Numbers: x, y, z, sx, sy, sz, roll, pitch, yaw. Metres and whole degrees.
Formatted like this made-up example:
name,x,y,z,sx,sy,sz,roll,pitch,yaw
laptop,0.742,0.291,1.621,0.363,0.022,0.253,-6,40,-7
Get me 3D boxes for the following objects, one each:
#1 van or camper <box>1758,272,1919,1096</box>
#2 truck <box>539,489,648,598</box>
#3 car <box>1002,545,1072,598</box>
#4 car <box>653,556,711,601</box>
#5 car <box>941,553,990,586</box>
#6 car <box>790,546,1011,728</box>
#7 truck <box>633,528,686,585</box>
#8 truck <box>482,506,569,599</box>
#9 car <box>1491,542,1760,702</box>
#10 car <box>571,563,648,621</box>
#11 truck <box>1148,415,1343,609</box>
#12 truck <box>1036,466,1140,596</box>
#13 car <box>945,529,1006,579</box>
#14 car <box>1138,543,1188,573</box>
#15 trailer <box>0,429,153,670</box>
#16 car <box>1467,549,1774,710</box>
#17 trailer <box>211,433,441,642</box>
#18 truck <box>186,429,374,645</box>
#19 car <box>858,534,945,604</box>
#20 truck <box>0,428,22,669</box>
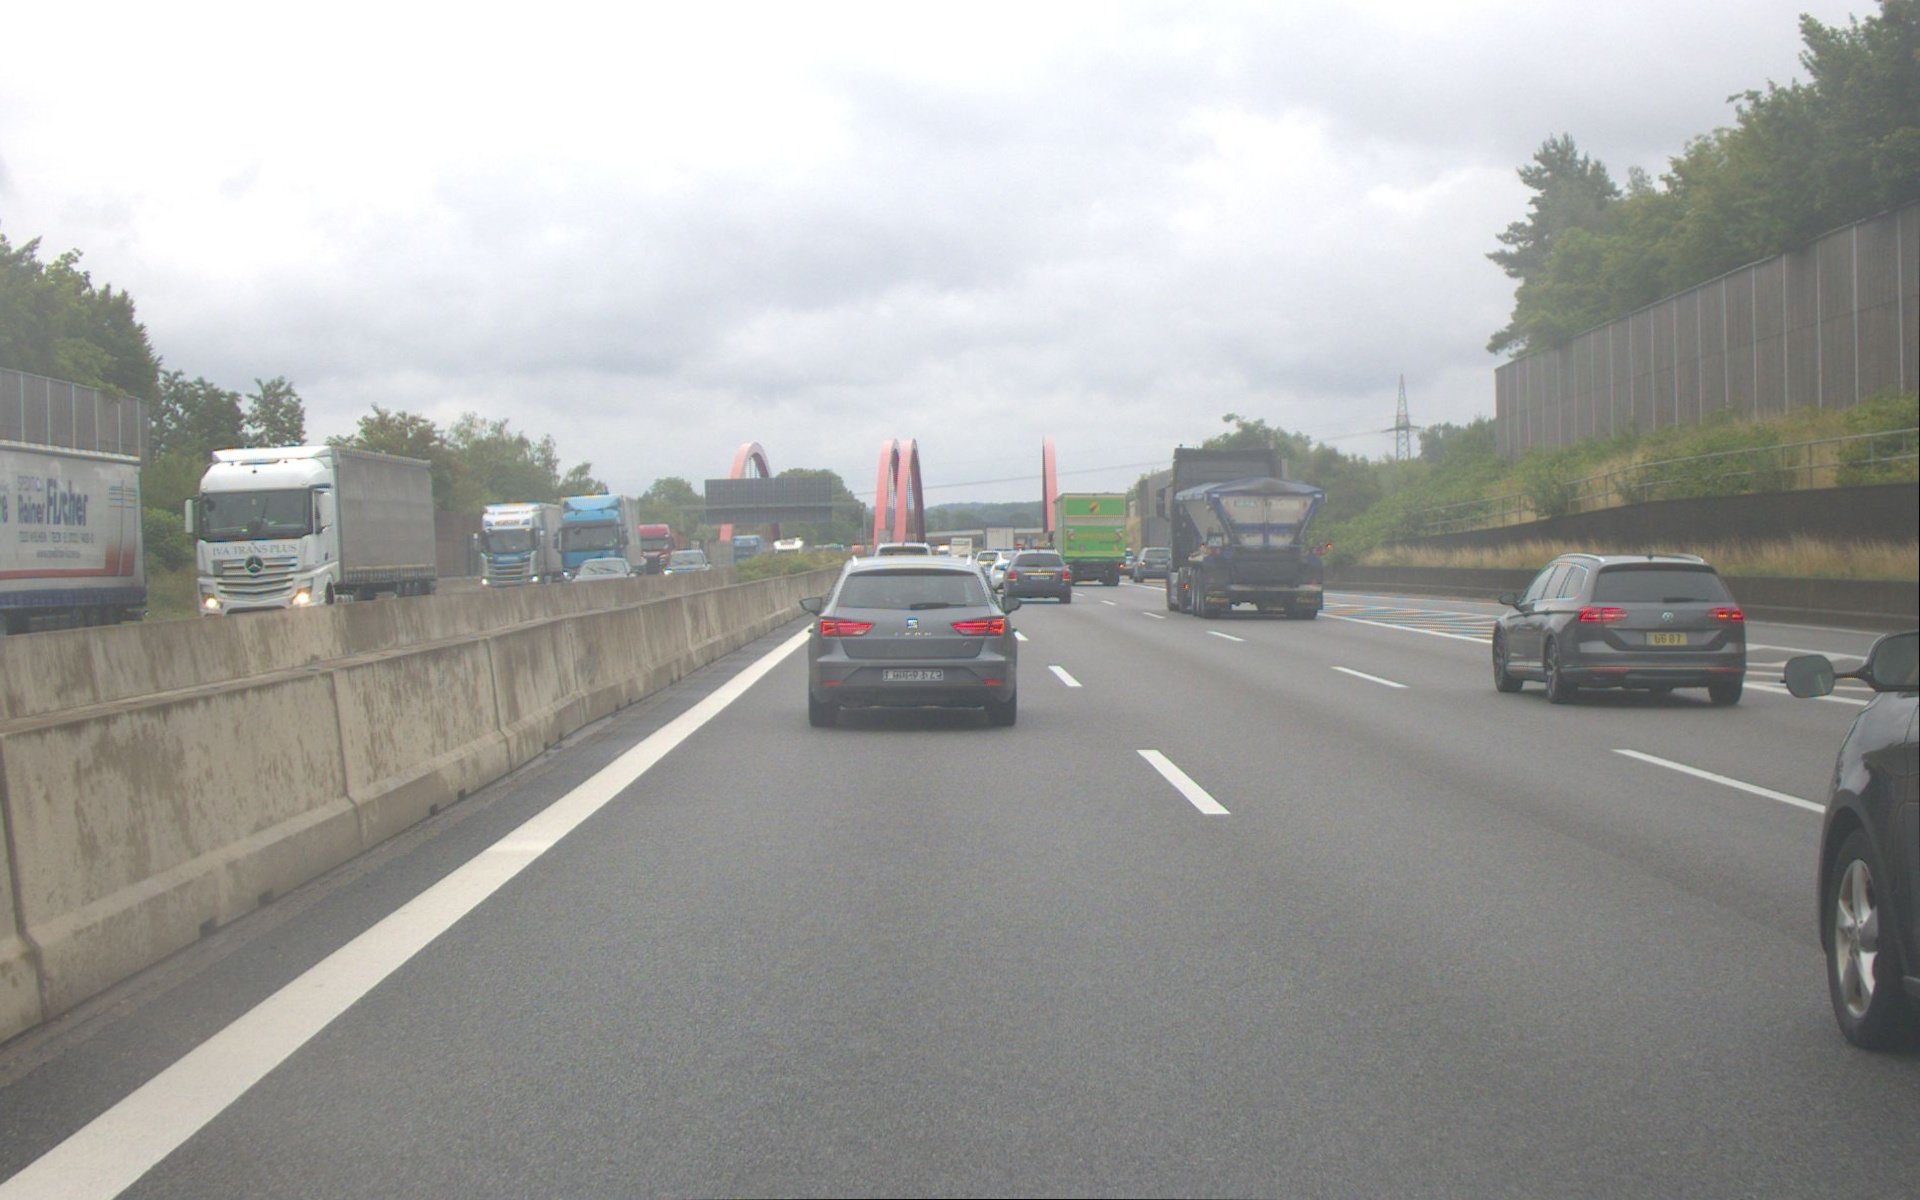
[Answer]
name,x,y,z,sx,sy,sz,roll,pitch,yaw
van or camper,3.598,0.251,8.376,1.890,2.262,5.680,1,1,-1
truck,-15.124,-2.317,142.832,3.151,4.310,12.680,1,1,0
car,2.079,-0.789,93.545,1.782,1.401,3.626,0,1,0
car,-11.190,-0.874,138.640,1.993,1.730,5.002,-1,1,-1
car,0.230,-1.322,146.917,1.993,1.349,4.000,-1,1,-1
car,-0.524,0.269,29.365,1.763,1.448,4.000,0,1,-1
truck,-19.886,-2.866,227.798,2.696,3.694,6.480,1,1,2
truck,-18.278,-2.013,144.825,2.888,3.783,5.890,-1,1,0
car,6.446,0.176,33.765,1.663,1.451,4.471,1,1,-1
car,-10.885,-0.275,106.988,1.972,1.683,4.358,-1,1,-1
truck,6.238,-1.887,77.265,3.089,3.936,12.946,-1,1,-1
truck,5.311,-2.860,145.066,3.997,5.248,11.220,1,1,0
car,0.511,-1.561,115.735,1.993,1.656,4.000,0,1,-1
car,9.389,-1.947,159.151,1.993,1.349,4.000,0,1,-1
trailer,-18.761,-0.935,66.334,3.089,4.310,14.339,-1,1,-1
car,6.439,0.233,34.123,1.939,1.422,5.289,1,1,-1
trailer,-14.238,-1.375,78.437,2.779,4.310,14.025,1,1,-1
truck,-14.158,-1.298,72.003,2.779,4.310,6.098,1,1,-1
car,-1.387,-0.755,81.662,1.993,1.579,4.000,-1,1,-1
truck,-18.664,-0.867,59.610,3.089,4.310,6.098,-1,1,-1
